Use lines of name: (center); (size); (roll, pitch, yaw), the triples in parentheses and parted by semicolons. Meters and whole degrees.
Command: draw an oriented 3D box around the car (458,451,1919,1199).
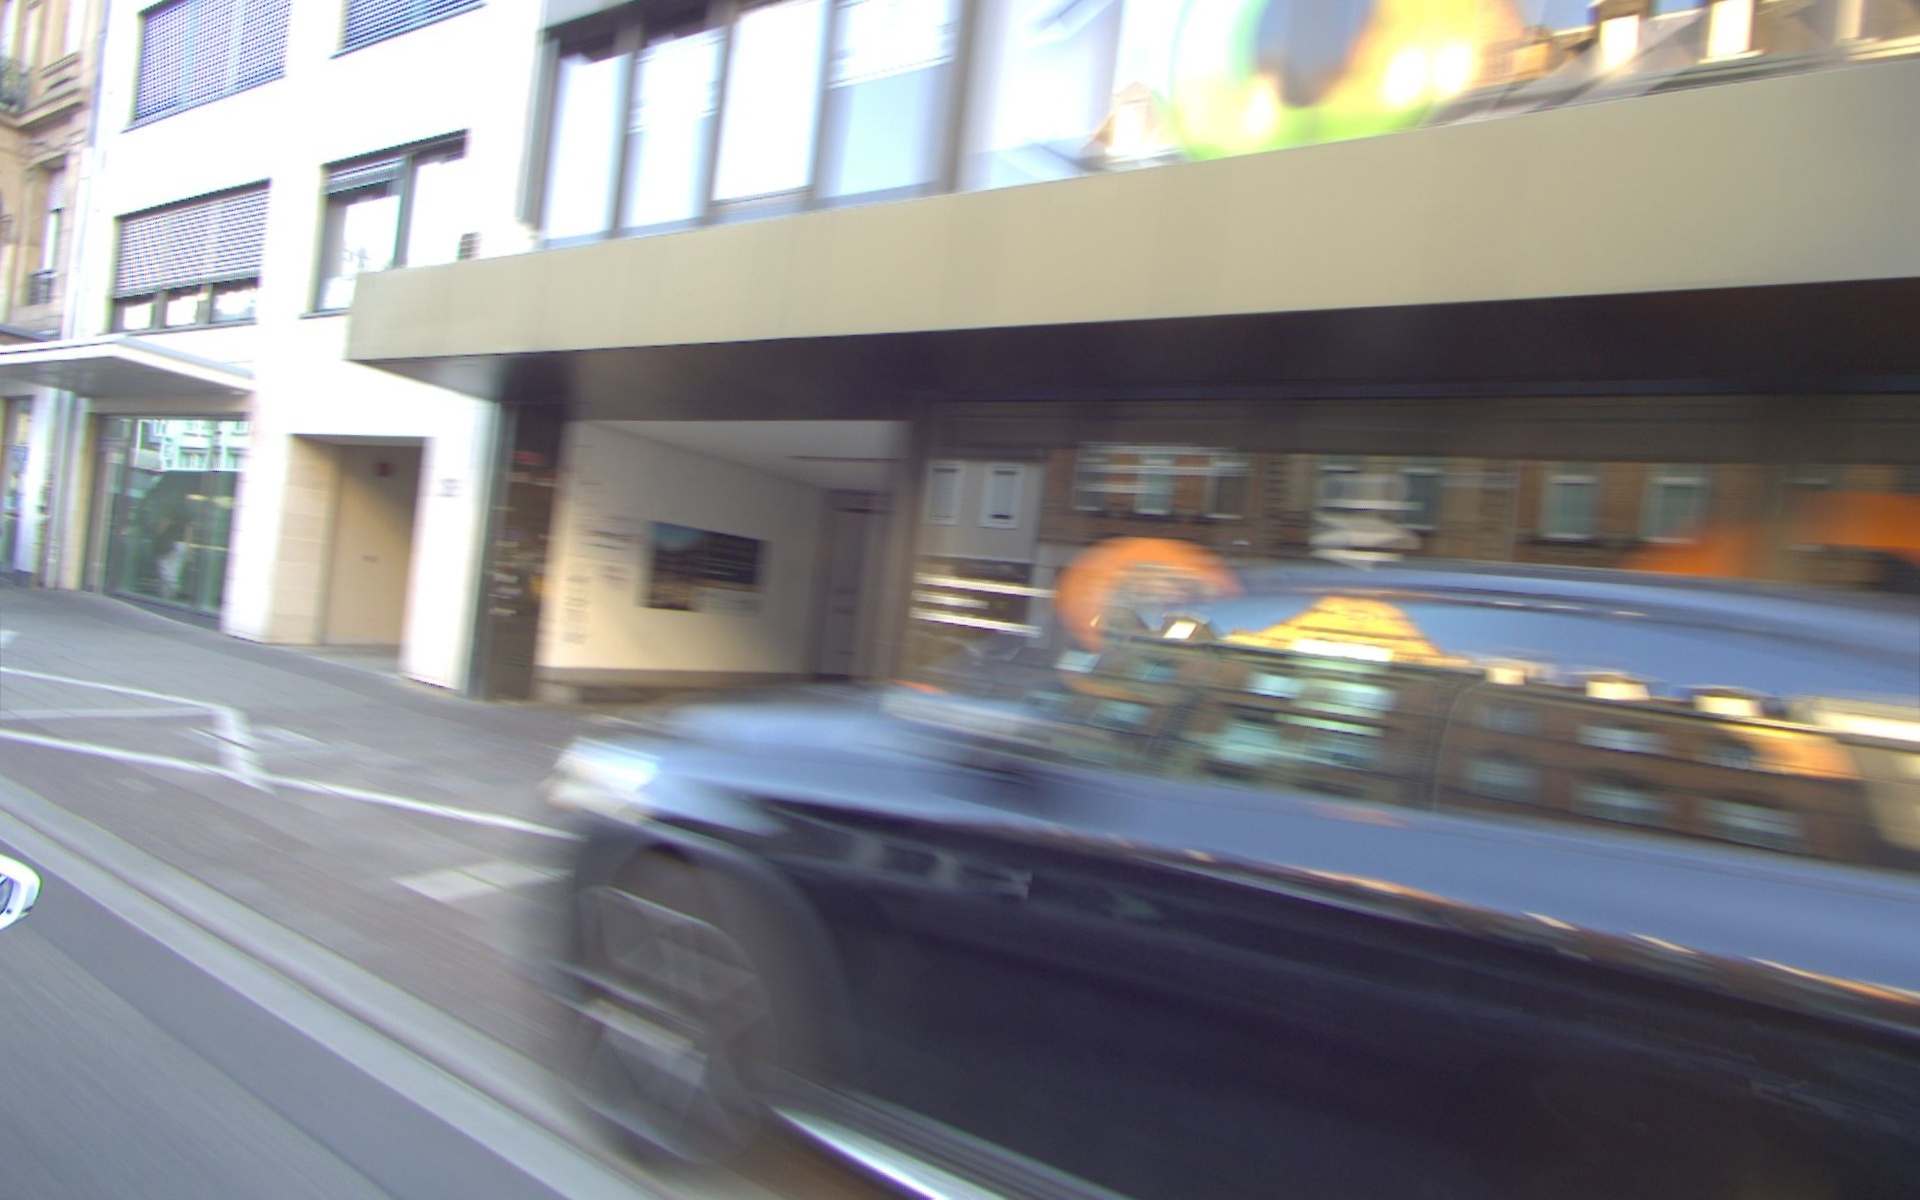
car: (1.058, 0.728, 2.534); (4.490, 1.749, 1.996); (6, 0, 32)
